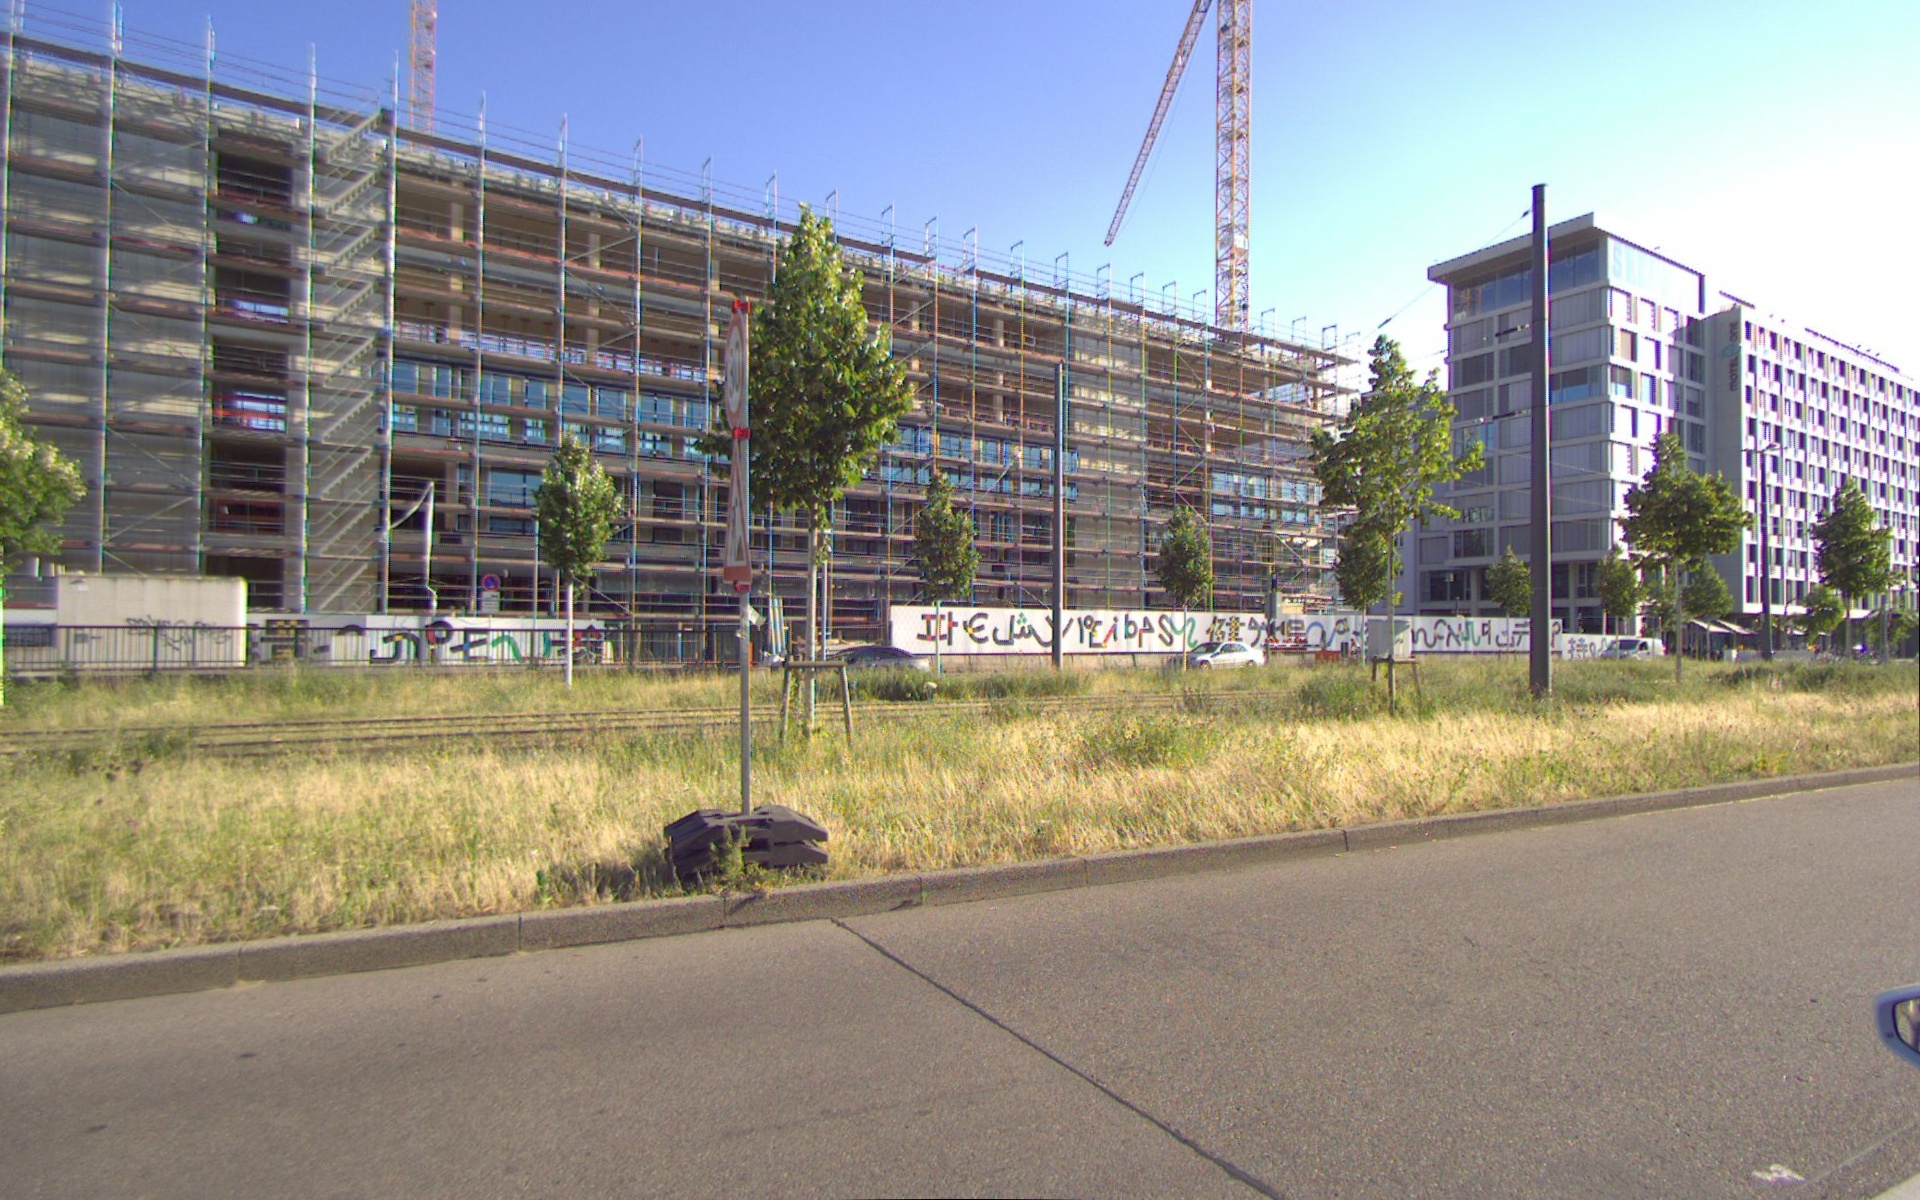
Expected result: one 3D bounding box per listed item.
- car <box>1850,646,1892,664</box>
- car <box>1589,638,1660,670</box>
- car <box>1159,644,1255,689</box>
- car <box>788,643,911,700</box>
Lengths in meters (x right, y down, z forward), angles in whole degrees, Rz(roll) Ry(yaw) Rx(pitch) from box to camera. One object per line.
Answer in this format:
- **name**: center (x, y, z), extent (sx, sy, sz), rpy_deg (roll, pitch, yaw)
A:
- **car**: center (77.855, 4.689, 85.831), extent (3.542, 1.461, 1.699), rpy_deg (2, -1, -32)
- **car**: center (37.426, 3.012, 56.556), extent (3.591, 1.706, 1.784), rpy_deg (2, -1, -27)
- **car**: center (10.152, 2.705, 41.273), extent (3.596, 1.706, 1.781), rpy_deg (2, -1, -31)
- **car**: center (-3.618, 2.294, 32.946), extent (3.596, 1.706, 1.781), rpy_deg (2, -1, -31)
